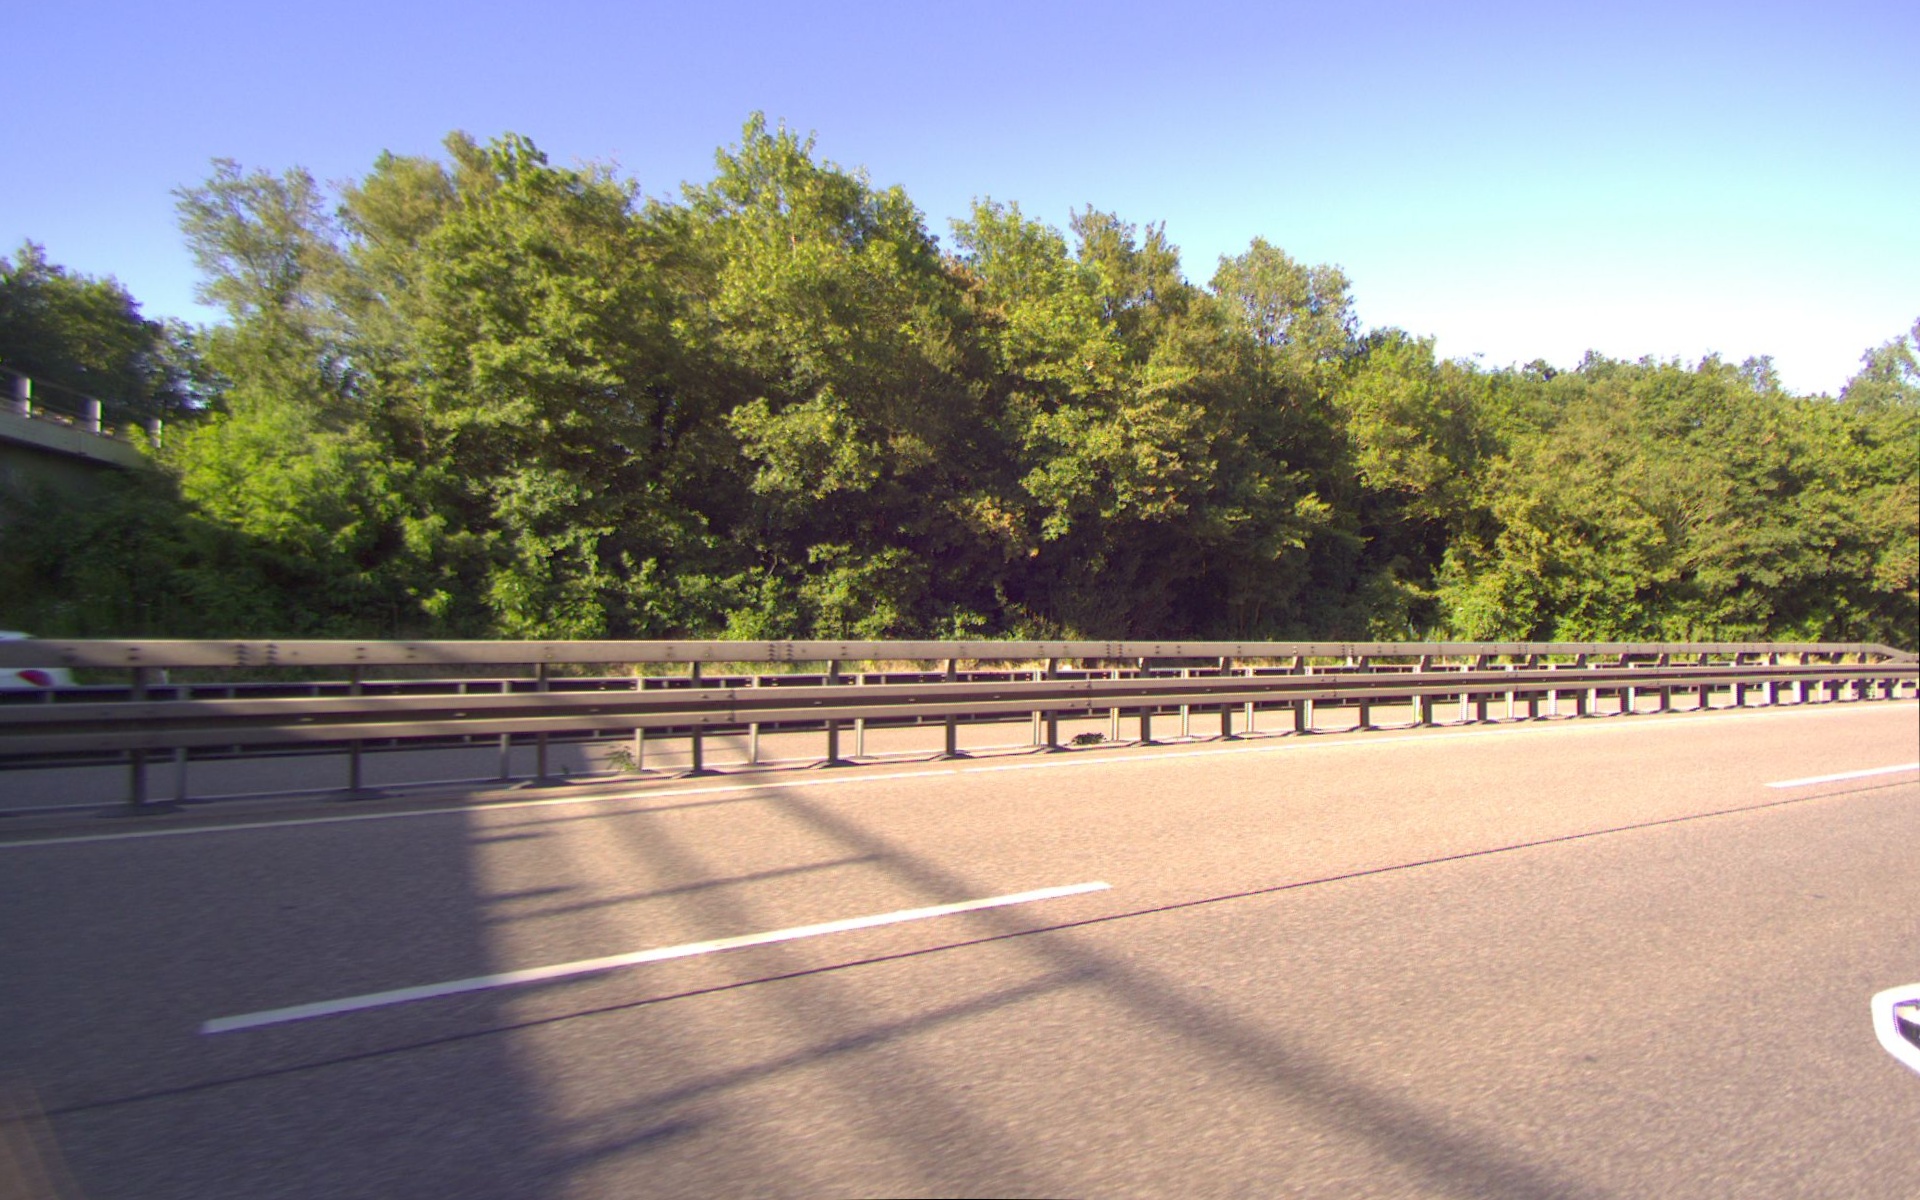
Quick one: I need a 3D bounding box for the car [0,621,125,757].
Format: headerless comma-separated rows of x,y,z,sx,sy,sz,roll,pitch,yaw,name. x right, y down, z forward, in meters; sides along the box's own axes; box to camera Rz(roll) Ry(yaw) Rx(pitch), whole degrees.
-13.545,1.073,12.368,4.671,1.615,1.984,1,0,-30,car
